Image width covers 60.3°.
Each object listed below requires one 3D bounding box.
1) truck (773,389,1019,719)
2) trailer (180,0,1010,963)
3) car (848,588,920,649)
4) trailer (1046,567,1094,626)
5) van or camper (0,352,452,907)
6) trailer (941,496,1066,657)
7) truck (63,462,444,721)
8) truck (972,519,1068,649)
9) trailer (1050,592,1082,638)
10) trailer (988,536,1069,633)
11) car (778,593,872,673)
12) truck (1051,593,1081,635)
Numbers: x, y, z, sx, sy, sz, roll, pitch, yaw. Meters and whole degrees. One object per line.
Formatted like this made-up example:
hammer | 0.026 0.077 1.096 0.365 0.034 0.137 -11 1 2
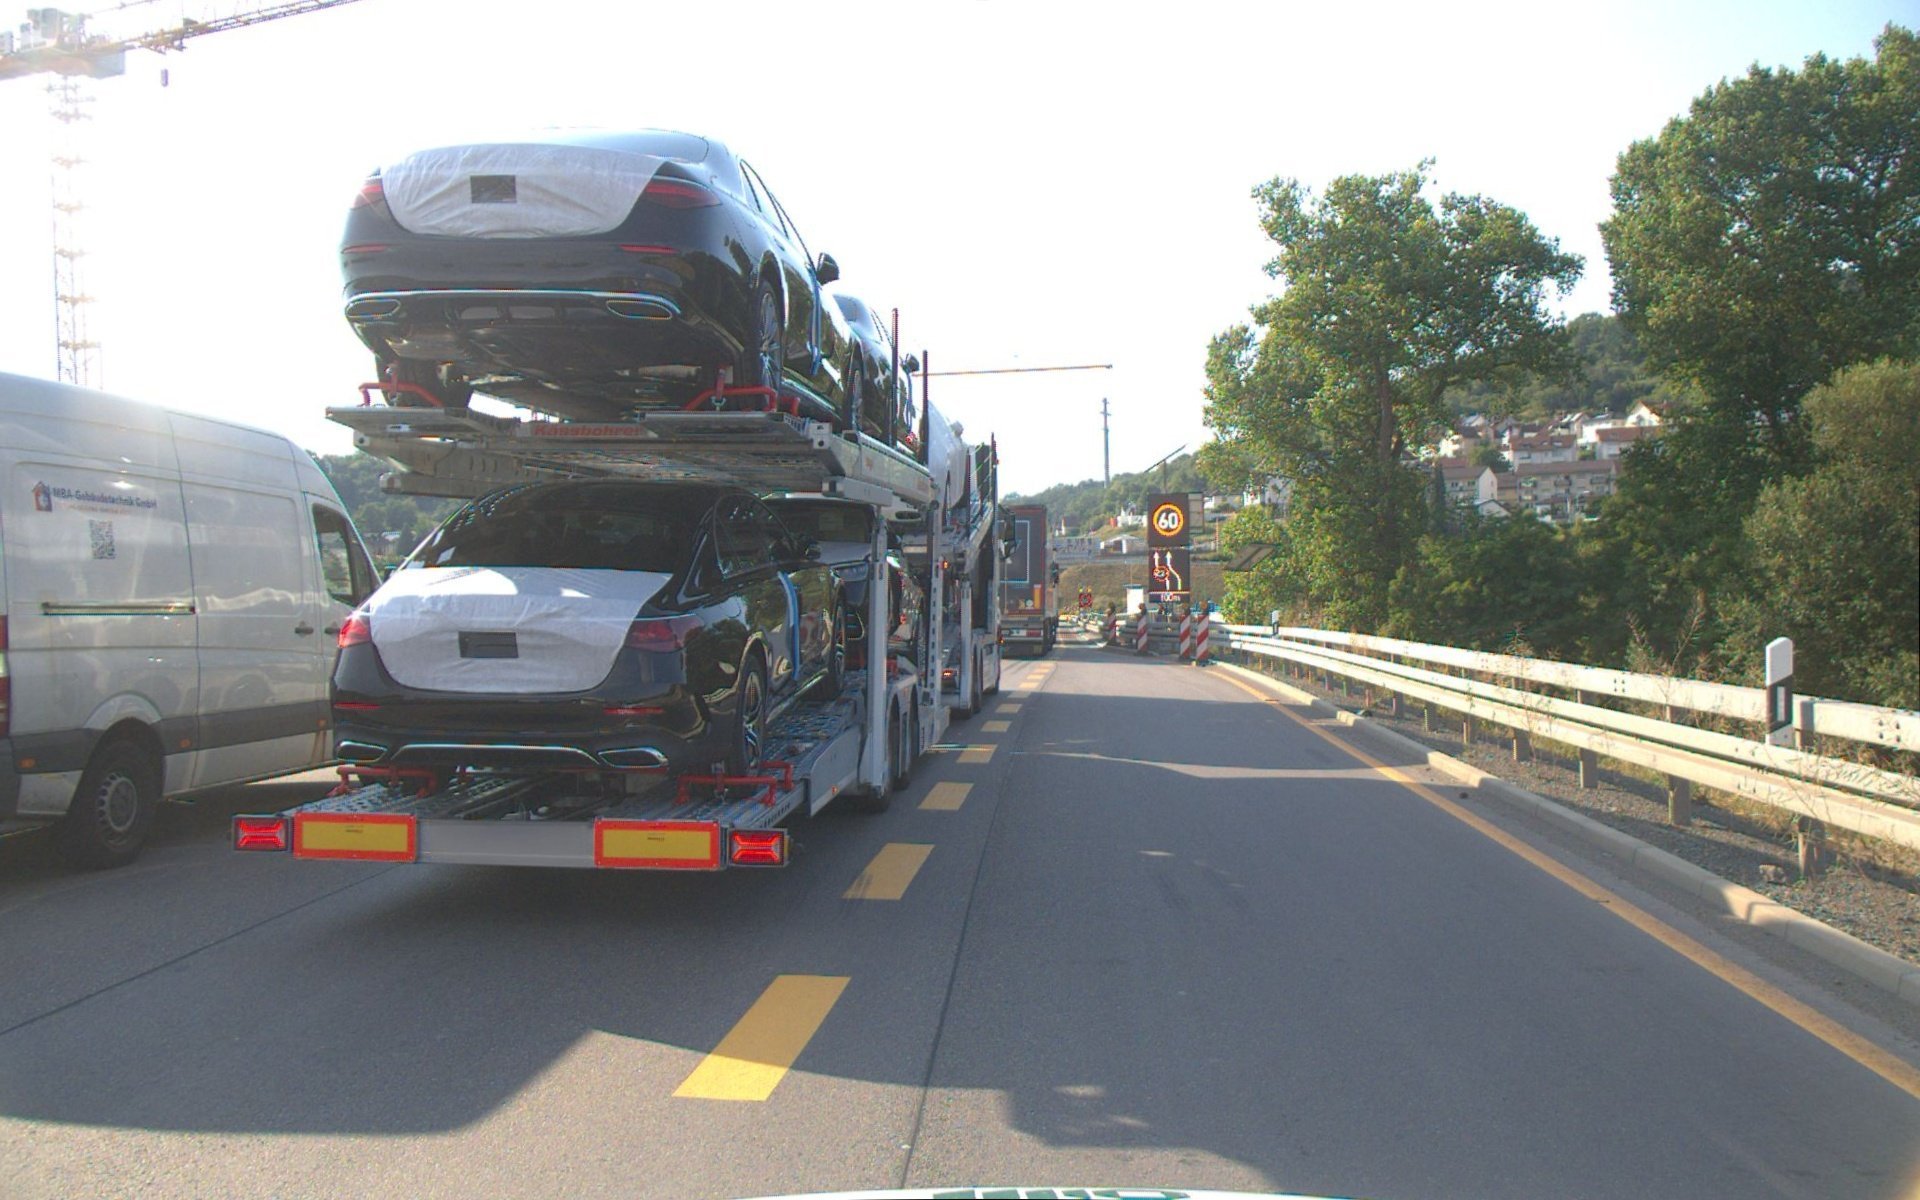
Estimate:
truck | -0.693 -0.575 24.015 2.788 4.066 6.628 -1 0 4
trailer | -1.300 -0.552 14.711 2.797 4.066 15.754 -1 0 4
car | -2.253 0.545 49.814 1.792 1.683 4.001 -2 0 2
trailer | 8.195 -0.234 122.862 3.314 4.066 14.752 -1 0 4
van or camper | -5.371 0.143 10.617 1.951 2.666 5.907 -1 0 5
trailer | 1.483 -0.629 49.183 2.896 4.163 10.800 -2 0 5
truck | -10.543 -0.122 25.440 2.835 3.456 5.955 -1 0 5
truck | 2.134 -0.519 56.010 2.824 4.066 6.628 -1 0 5
trailer | 10.707 1.473 166.875 3.038 4.389 14.259 -1 0 4
trailer | 3.397 -0.660 77.340 3.314 4.066 14.752 -1 0 4
car | -3.266 0.771 40.796 1.792 1.783 4.001 -2 0 2
truck | 11.248 1.451 175.603 3.033 4.360 6.628 -1 0 4
